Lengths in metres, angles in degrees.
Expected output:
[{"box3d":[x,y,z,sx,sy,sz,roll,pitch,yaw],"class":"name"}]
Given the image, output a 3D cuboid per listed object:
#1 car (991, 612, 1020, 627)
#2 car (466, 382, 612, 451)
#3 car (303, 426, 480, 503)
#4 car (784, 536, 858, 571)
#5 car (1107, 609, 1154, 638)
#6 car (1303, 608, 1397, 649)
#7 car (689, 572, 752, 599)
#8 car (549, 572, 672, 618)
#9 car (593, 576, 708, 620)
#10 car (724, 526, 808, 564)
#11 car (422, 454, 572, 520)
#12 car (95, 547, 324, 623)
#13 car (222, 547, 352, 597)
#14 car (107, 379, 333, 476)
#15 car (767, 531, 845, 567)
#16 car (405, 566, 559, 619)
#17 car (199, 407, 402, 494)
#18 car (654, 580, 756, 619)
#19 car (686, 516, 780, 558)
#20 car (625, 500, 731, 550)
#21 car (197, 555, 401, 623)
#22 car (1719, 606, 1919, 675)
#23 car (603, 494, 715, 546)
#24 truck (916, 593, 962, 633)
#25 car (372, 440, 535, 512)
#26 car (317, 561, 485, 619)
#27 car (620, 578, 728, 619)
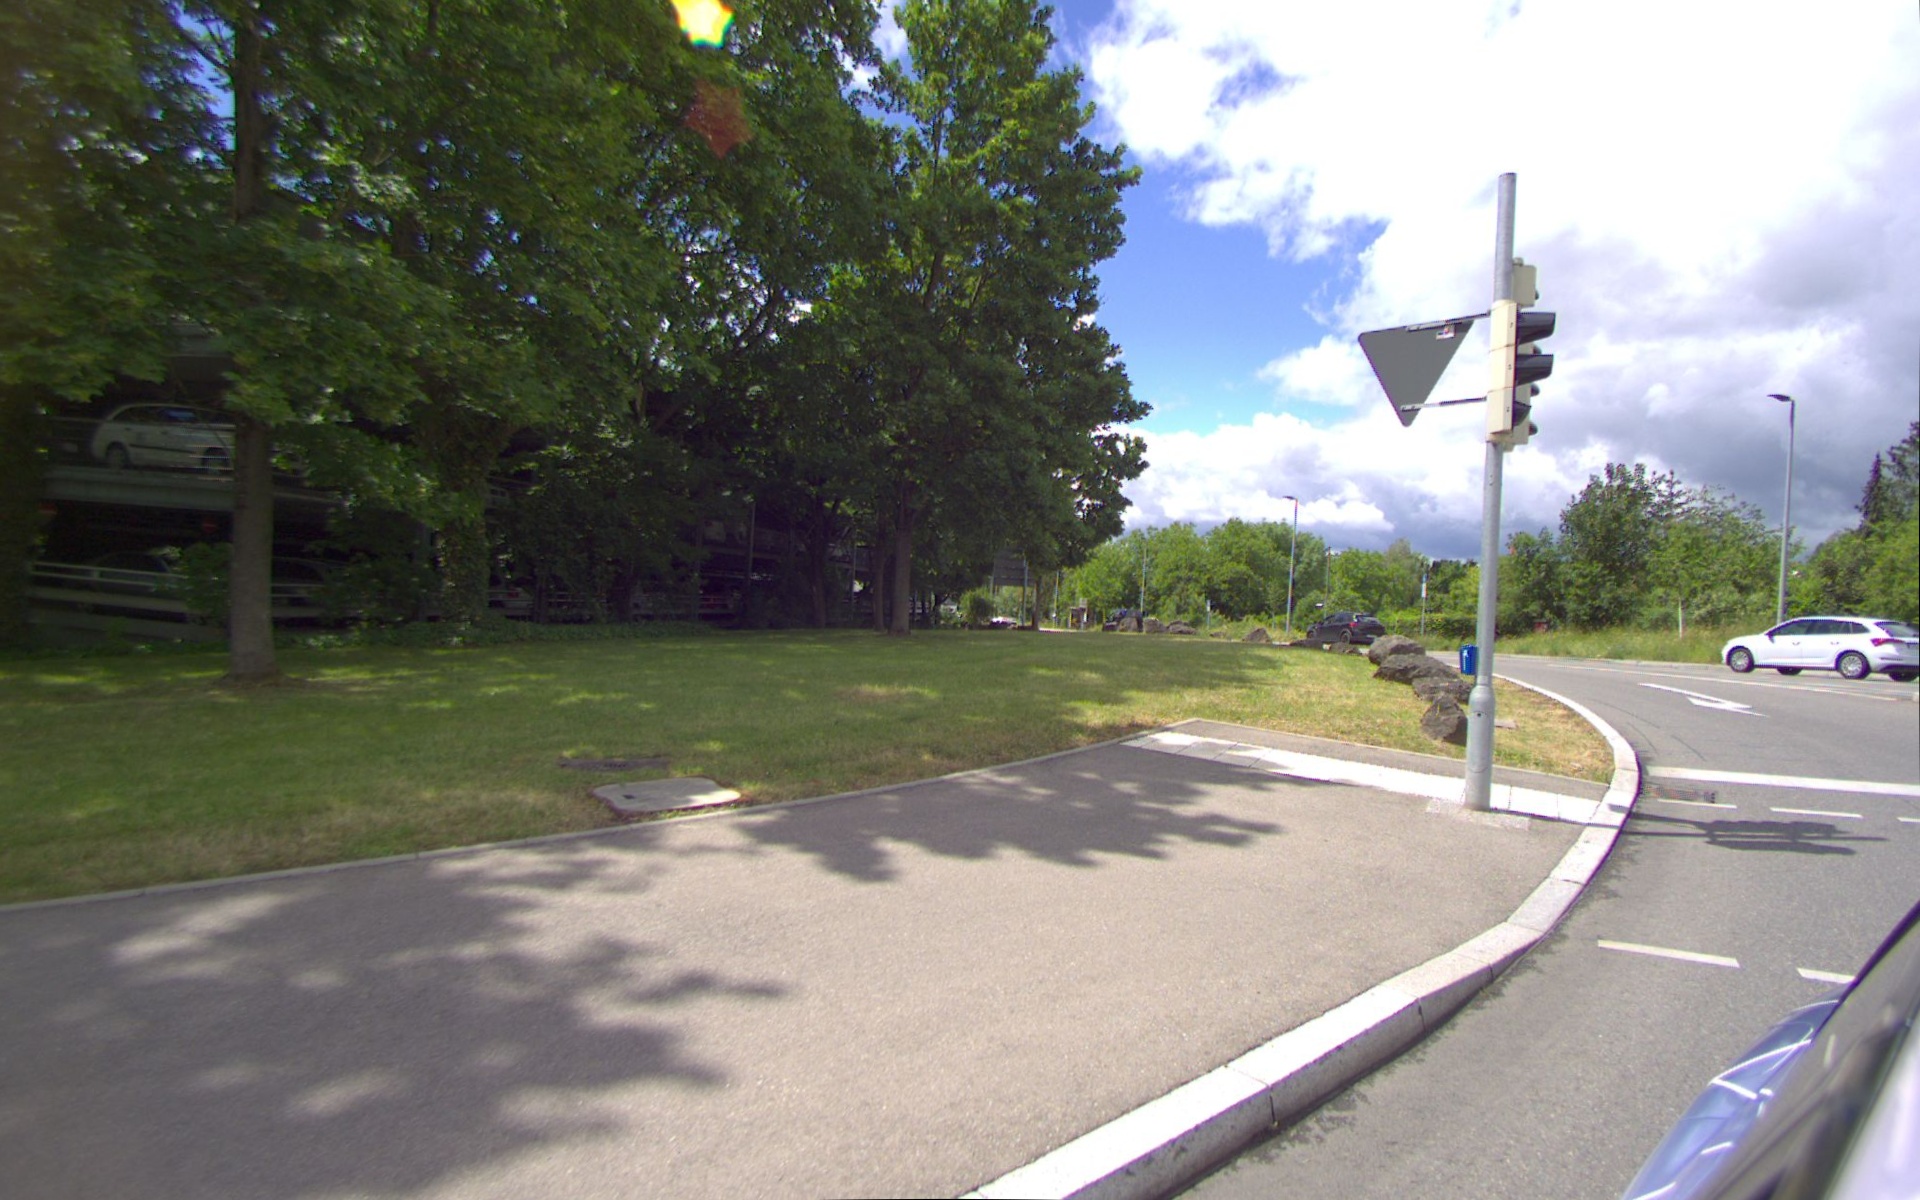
[{"box3d":[4.566,1.998,103.312,1.871,1.307,4.617,4,-1,-11],"class":"car"},{"box3d":[-13.230,-5.733,31.856,3.943,1.683,1.859,1,0,15],"class":"car"},{"box3d":[-14.346,-3.418,25.614,3.650,1.561,1.719,3,-3,14],"class":"car"},{"box3d":[-7.764,-2.615,56.675,3.650,1.640,1.651,3,-3,14],"class":"car"},{"box3d":[11.915,1.700,71.065,1.754,1.802,4.815,3,-4,-9],"class":"car"},{"box3d":[16.780,1.189,43.769,1.753,1.598,4.172,3,-1,-12],"class":"car"},{"box3d":[-16.510,-0.963,69.793,3.801,1.504,1.746,5,-1,13],"class":"car"},{"box3d":[-12.486,-0.164,36.195,3.742,1.410,1.769,3,-1,13],"class":"car"},{"box3d":[-11.745,-0.079,38.447,3.742,1.410,1.769,3,-1,13],"class":"car"},{"box3d":[-9.566,-2.727,50.041,3.650,1.561,1.719,3,-3,14],"class":"car"},{"box3d":[-13.611,-3.323,29.824,3.650,1.561,1.719,3,-3,14],"class":"car"},{"box3d":[-15.465,-0.288,20.929,3.742,1.309,1.769,3,-1,13],"class":"car"},{"box3d":[-23.326,-0.959,35.126,3.728,1.388,1.588,5,-1,13],"class":"car"},{"box3d":[-15.144,-3.524,20.765,3.650,1.561,1.719,3,-3,14],"class":"car"},{"box3d":[-8.205,-2.721,54.009,3.650,1.583,1.651,3,-3,14],"class":"car"},{"box3d":[-13.920,-0.210,29.535,3.742,1.309,1.769,3,-1,13],"class":"car"},{"box3d":[-14.767,-3.338,22.721,3.650,1.561,1.719,3,-3,14],"class":"car"},{"box3d":[-10.893,-0.028,43.313,3.800,1.410,1.769,3,-1,13],"class":"car"},{"box3d":[-10.179,-2.814,45.484,3.650,1.561,1.719,3,-3,14],"class":"car"},{"box3d":[-11.366,-3.016,40.833,3.650,1.640,1.719,3,-3,14],"class":"car"},{"box3d":[-15.049,-0.235,23.119,3.742,1.309,1.769,3,-1,13],"class":"car"},{"box3d":[21.013,0.900,24.371,1.588,1.488,4.386,0,0,-13],"class":"car"},{"box3d":[-11.533,-3.064,38.832,3.650,1.640,1.719,3,-3,14],"class":"car"},{"box3d":[-2.470,1.366,112.959,3.176,3.908,9.892,5,0,-11],"class":"truck"},{"box3d":[-13.721,-3.347,27.470,3.650,1.561,1.719,3,-3,14],"class":"car"},{"box3d":[-15.145,-0.258,27.490,3.742,1.309,1.769,3,-1,13],"class":"car"},{"box3d":[-11.512,-0.046,40.775,3.742,1.410,1.769,3,-1,13],"class":"car"}]
